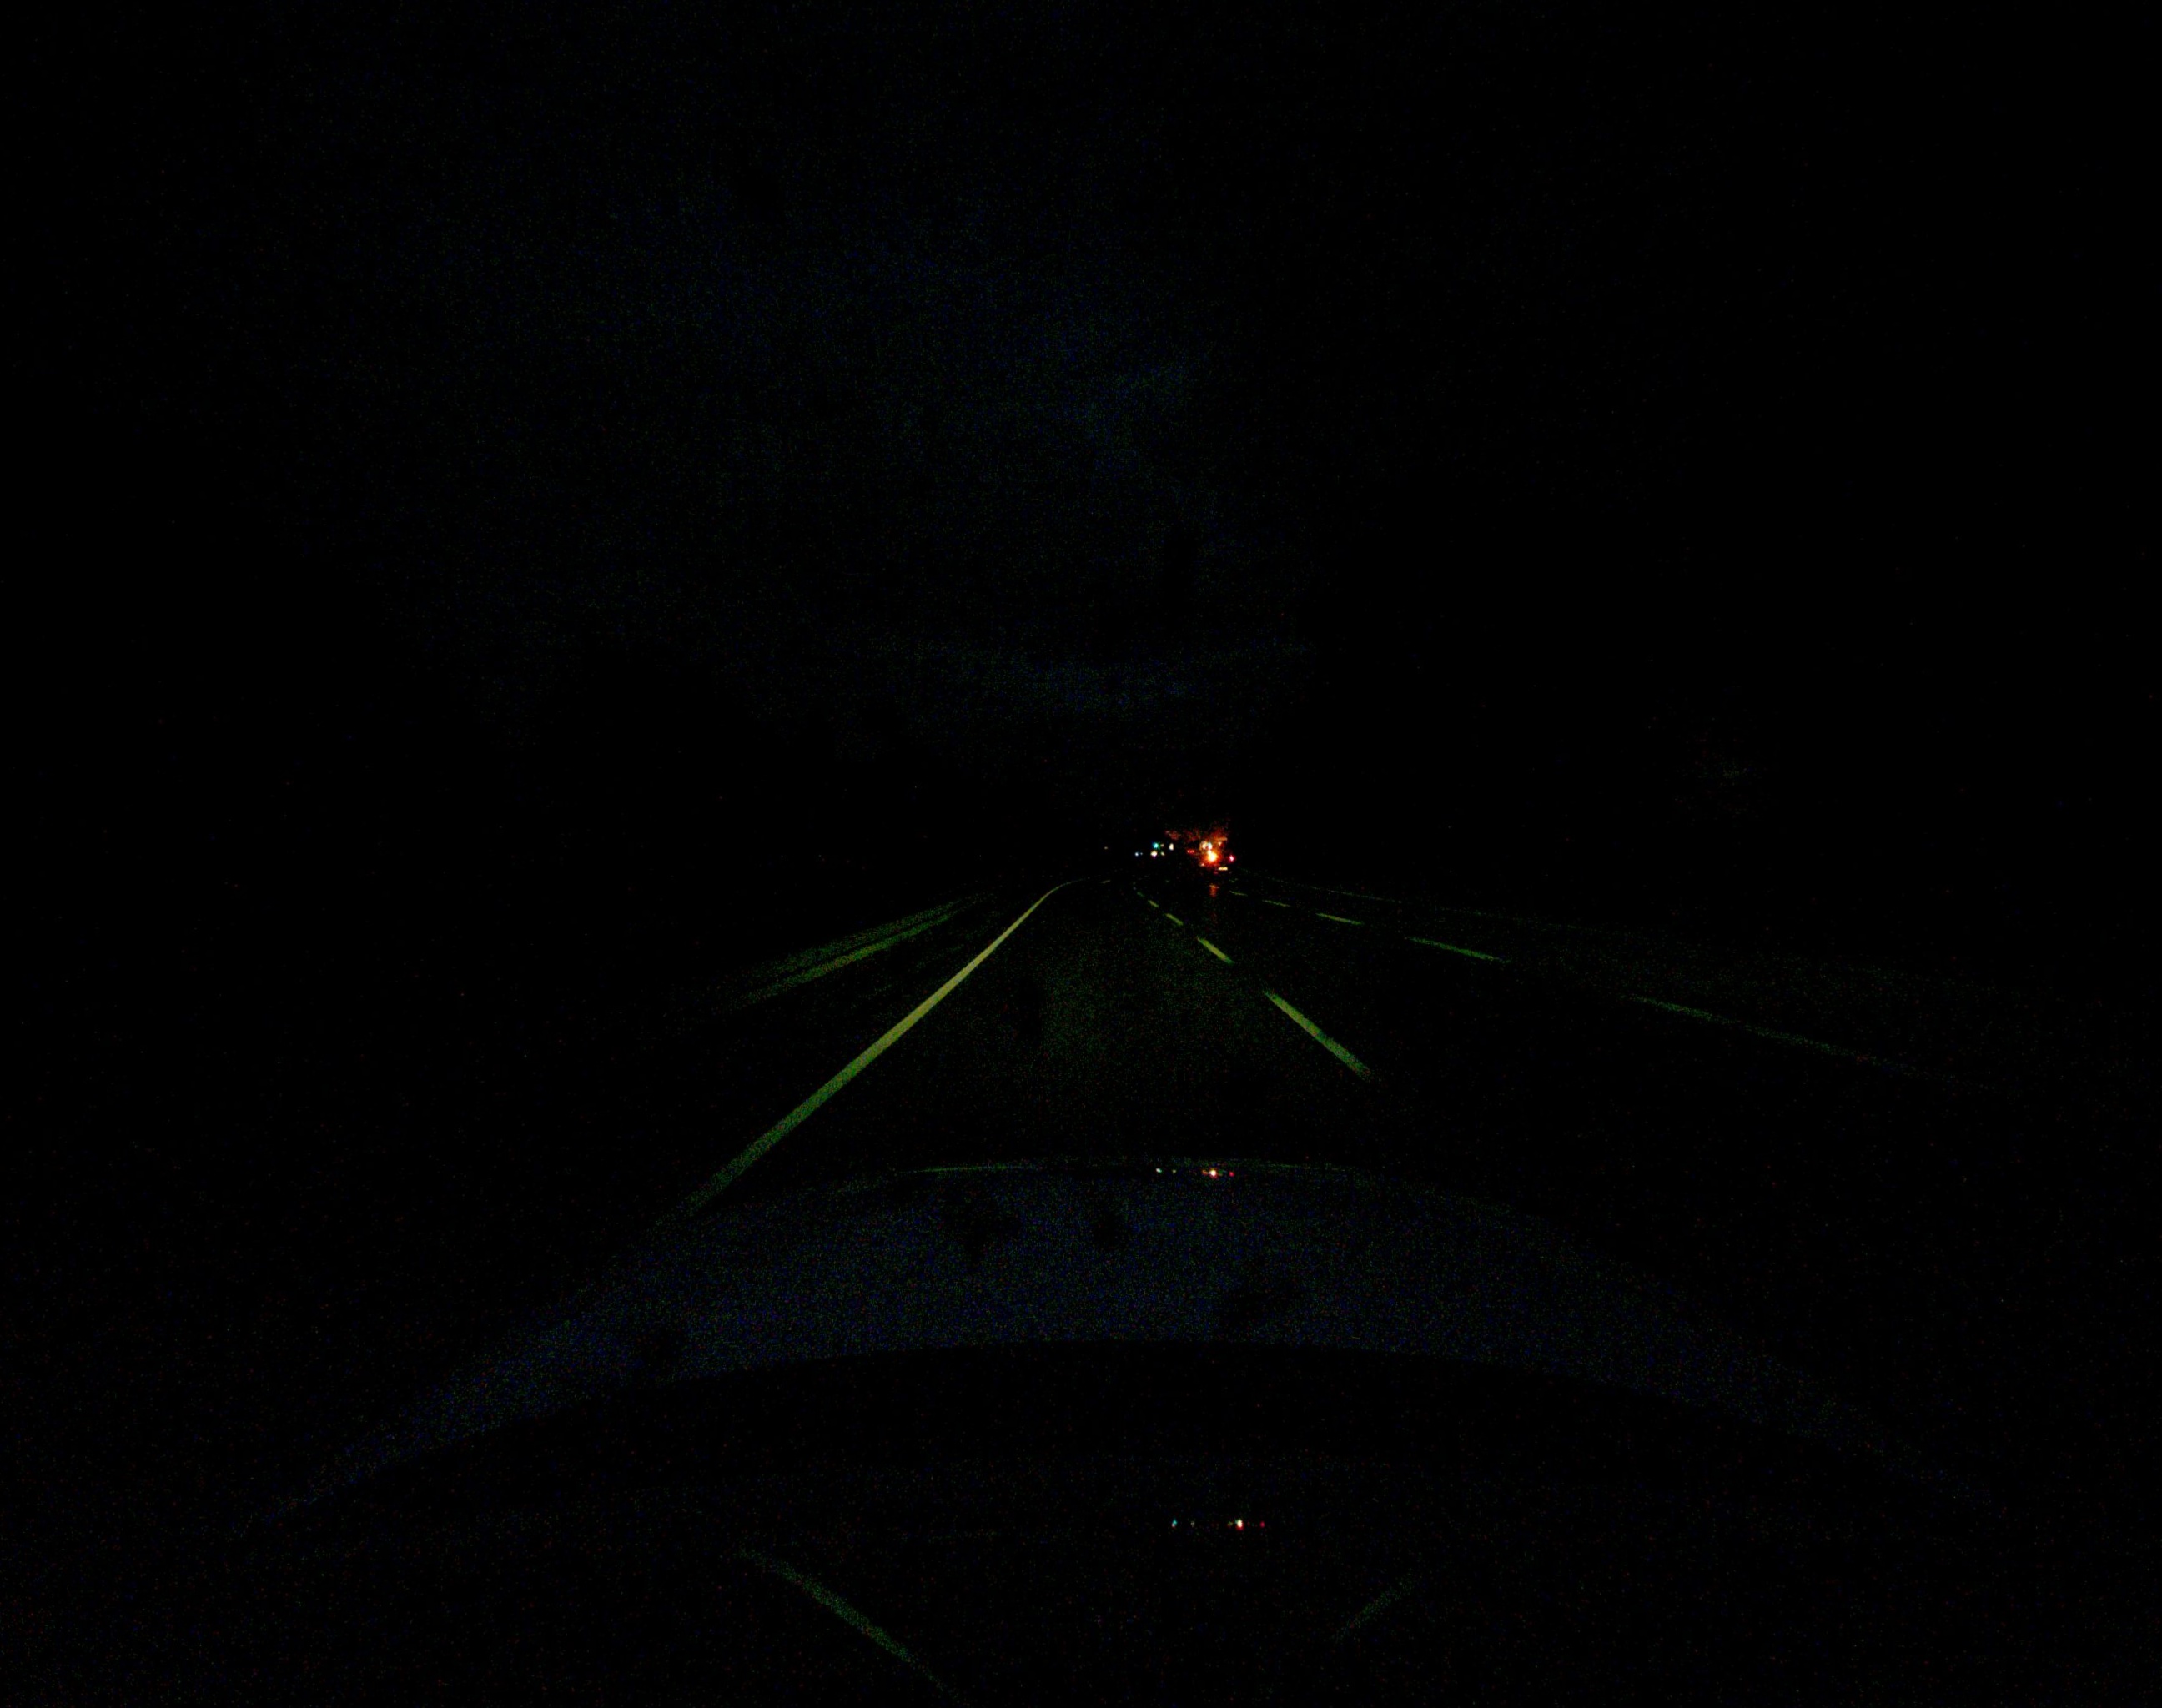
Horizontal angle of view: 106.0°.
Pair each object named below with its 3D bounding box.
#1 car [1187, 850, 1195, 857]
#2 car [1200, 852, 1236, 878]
[{"bbox_3d":[32.603,-0.225,241.019,1.983,1.750,4.007,-6,-1,6],"label":"car"},{"bbox_3d":[8.379,0.621,49.964,1.745,1.453,4.438,-2,0,4],"label":"car"}]
